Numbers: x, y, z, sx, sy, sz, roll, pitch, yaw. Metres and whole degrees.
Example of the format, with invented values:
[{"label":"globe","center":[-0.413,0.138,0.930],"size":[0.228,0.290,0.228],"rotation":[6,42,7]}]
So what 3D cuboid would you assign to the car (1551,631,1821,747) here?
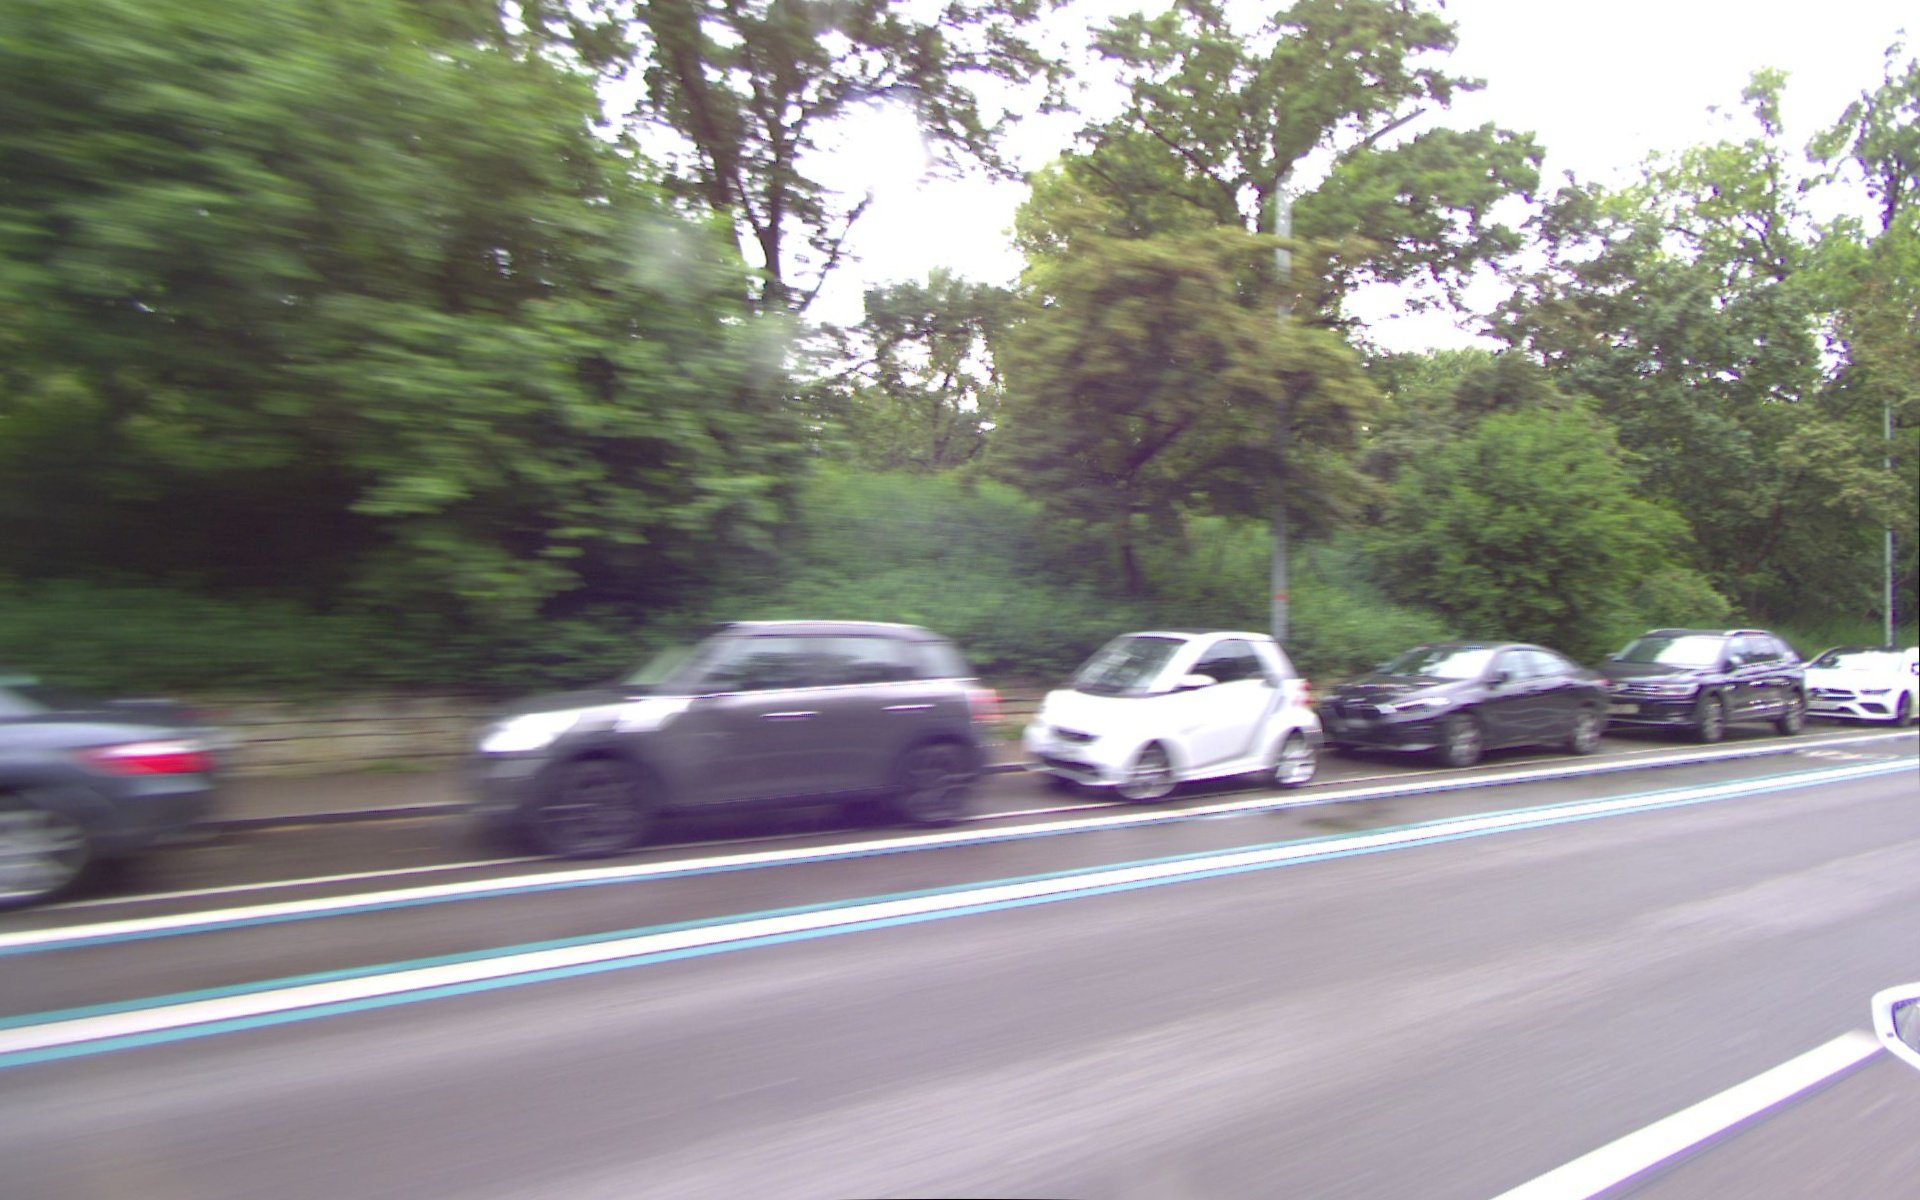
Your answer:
[{"label":"car","center":[11.623,1.320,16.023],"size":[4.415,1.582,1.871],"rotation":[1,-1,-30]}]

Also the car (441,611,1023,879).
[{"label":"car","center":[-1.690,0.921,7.756],"size":[4.087,1.605,1.689],"rotation":[1,-1,-28]}]

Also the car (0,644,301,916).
[{"label":"car","center":[-6.077,0.914,5.319],"size":[4.140,1.318,1.689],"rotation":[1,-1,-28]}]

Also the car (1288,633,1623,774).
[{"label":"car","center":[6.447,1.212,12.943],"size":[4.417,1.508,1.799],"rotation":[2,-1,-31]}]

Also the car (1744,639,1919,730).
[{"label":"car","center":[17.213,1.538,19.224],"size":[4.415,1.508,1.984],"rotation":[1,-1,-30]}]

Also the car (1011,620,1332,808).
[{"label":"car","center":[2.130,1.015,9.982],"size":[2.950,1.592,1.453],"rotation":[1,-1,-32]}]
